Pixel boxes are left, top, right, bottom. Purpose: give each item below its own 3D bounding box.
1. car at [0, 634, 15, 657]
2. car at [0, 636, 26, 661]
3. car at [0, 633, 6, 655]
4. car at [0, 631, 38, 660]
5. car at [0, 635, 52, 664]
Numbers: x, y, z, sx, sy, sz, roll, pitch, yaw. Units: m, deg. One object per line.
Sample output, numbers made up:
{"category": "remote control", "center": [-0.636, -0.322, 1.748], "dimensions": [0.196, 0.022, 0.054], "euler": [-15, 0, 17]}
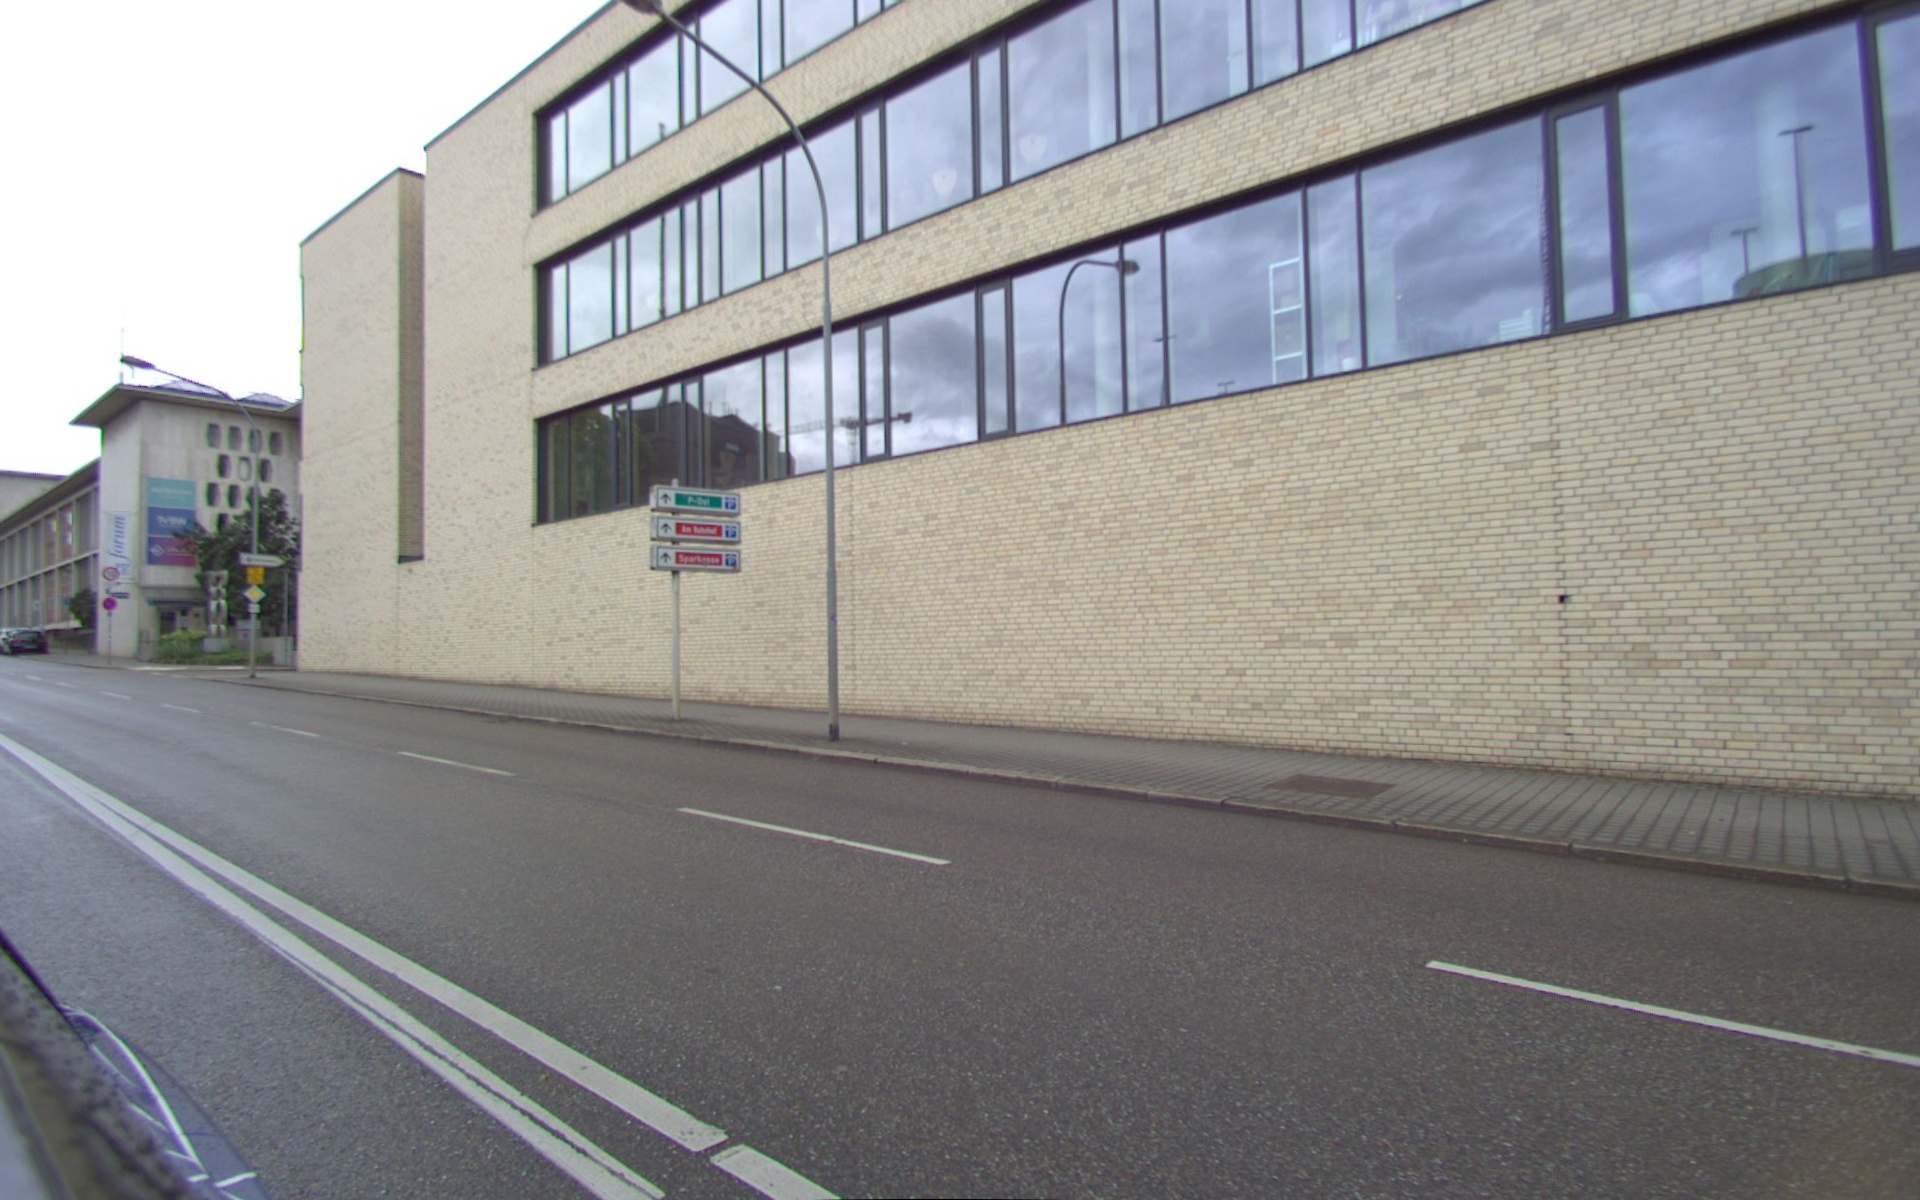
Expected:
{"category": "car", "center": [-67.271, 3.154, 70.282], "dimensions": [4.183, 1.502, 1.973], "euler": [-1, 0, 41]}
{"category": "car", "center": [-63.656, 3.199, 67.219], "dimensions": [3.999, 1.523, 1.972], "euler": [-1, 0, 42]}
{"category": "car", "center": [-72.087, 3.263, 74.654], "dimensions": [3.996, 1.541, 1.974], "euler": [-1, 1, 40]}
{"category": "car", "center": [-59.611, 2.854, 63.632], "dimensions": [3.997, 1.654, 1.973], "euler": [-1, 0, 41]}
{"category": "car", "center": [-55.624, 2.924, 60.078], "dimensions": [3.996, 1.541, 1.974], "euler": [-1, 0, 40]}
